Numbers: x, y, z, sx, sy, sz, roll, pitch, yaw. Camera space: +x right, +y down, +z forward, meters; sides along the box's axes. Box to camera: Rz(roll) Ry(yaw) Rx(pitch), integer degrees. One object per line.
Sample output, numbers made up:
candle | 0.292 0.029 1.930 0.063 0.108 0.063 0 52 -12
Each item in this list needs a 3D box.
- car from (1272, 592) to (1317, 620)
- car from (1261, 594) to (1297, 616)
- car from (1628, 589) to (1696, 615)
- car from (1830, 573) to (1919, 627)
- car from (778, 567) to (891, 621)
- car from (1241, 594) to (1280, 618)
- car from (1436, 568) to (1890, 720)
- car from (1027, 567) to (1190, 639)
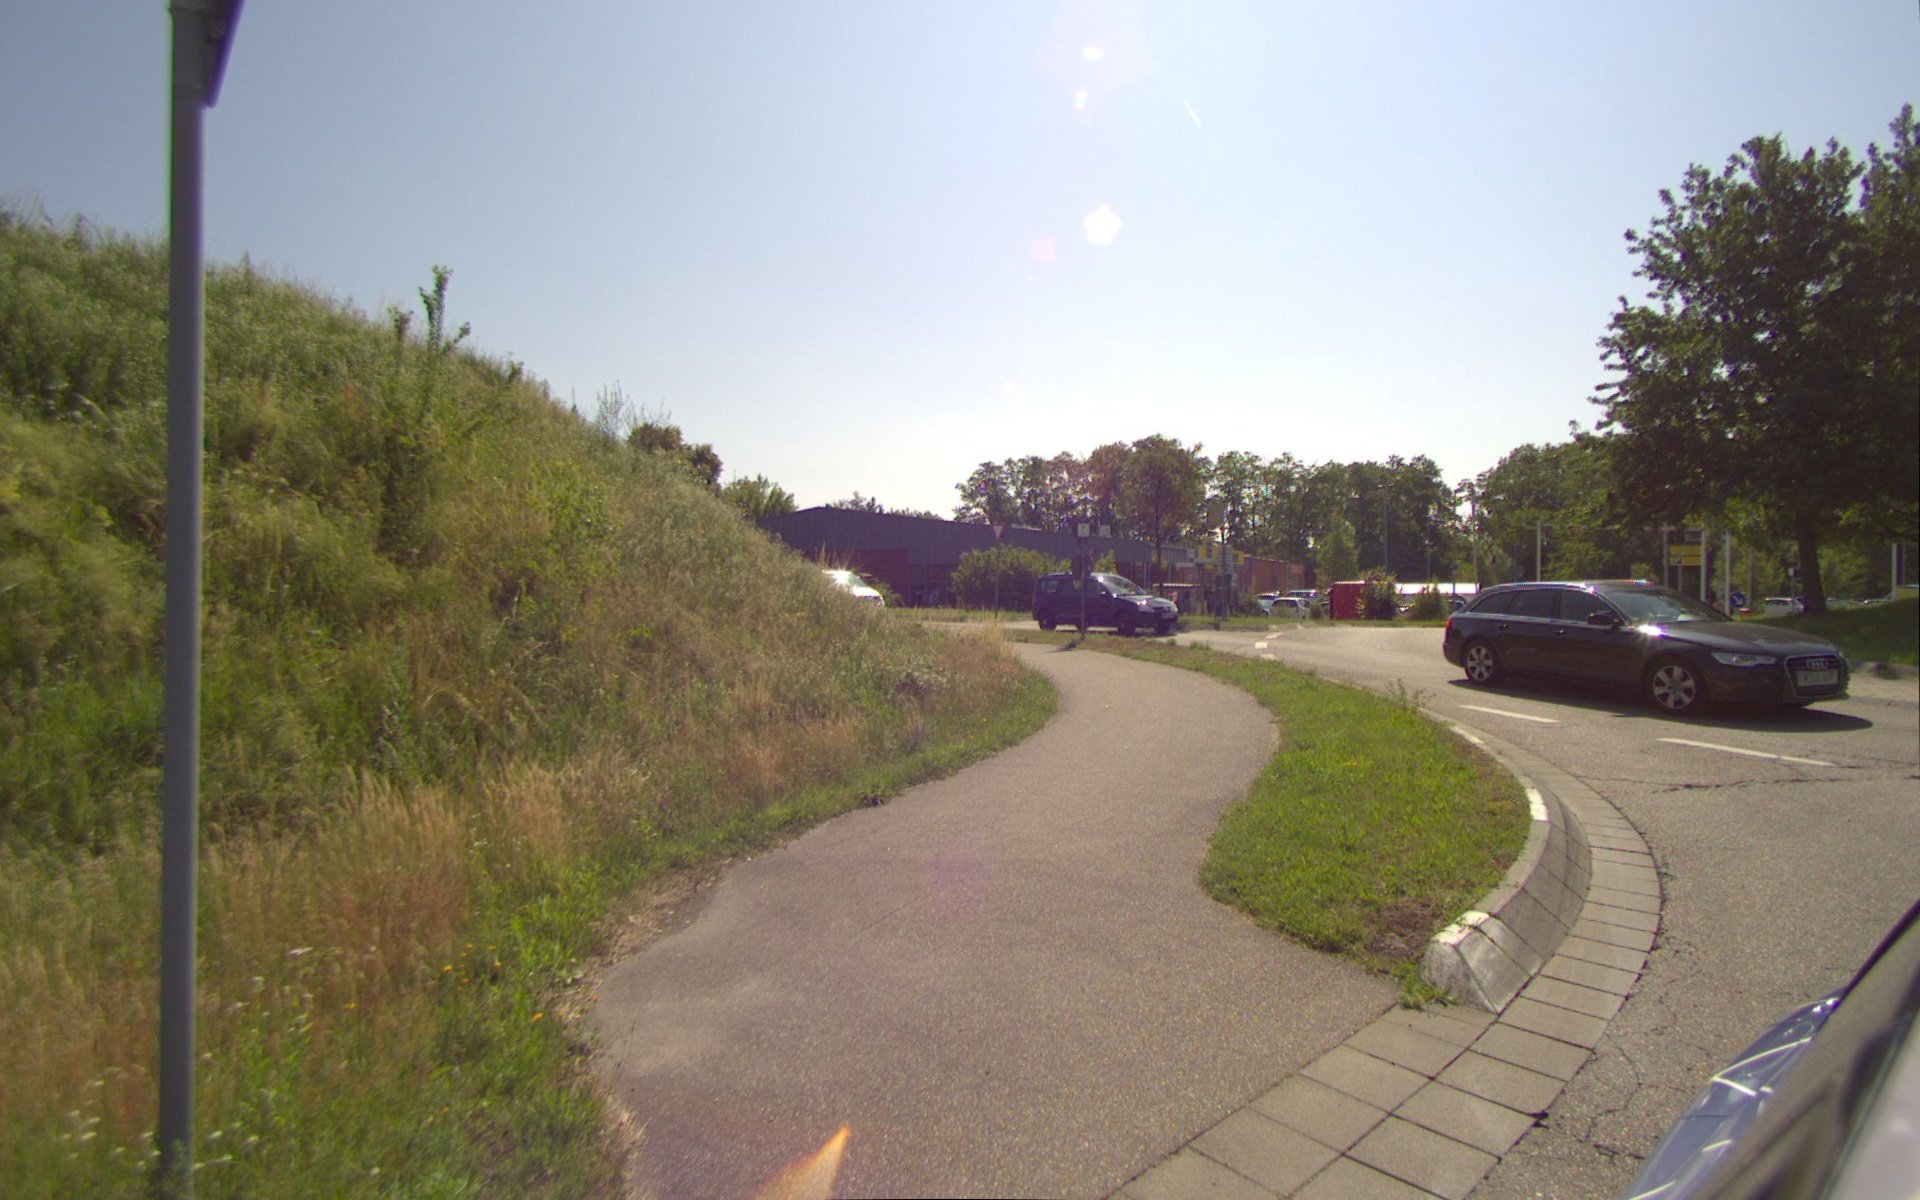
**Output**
car | 16.391 0.279 49.605 1.442 1.304 2.797 0 0 33
car | 19.714 0.294 62.548 1.442 1.304 2.797 0 0 33
car | 51.344 0.146 74.068 3.968 1.817 1.592 0 0 32
car | 46.242 -0.018 49.837 1.821 2.563 4.846 0 0 -36
car | -4.519 -0.235 36.126 3.976 1.813 1.699 1 1 37
car | 17.433 0.343 58.680 1.442 1.304 2.797 0 0 33
car | 8.449 0.381 12.817 1.776 1.508 4.689 -2 2 -14
car | 3.949 -0.004 27.464 1.679 1.675 4.347 -6 5 -40
